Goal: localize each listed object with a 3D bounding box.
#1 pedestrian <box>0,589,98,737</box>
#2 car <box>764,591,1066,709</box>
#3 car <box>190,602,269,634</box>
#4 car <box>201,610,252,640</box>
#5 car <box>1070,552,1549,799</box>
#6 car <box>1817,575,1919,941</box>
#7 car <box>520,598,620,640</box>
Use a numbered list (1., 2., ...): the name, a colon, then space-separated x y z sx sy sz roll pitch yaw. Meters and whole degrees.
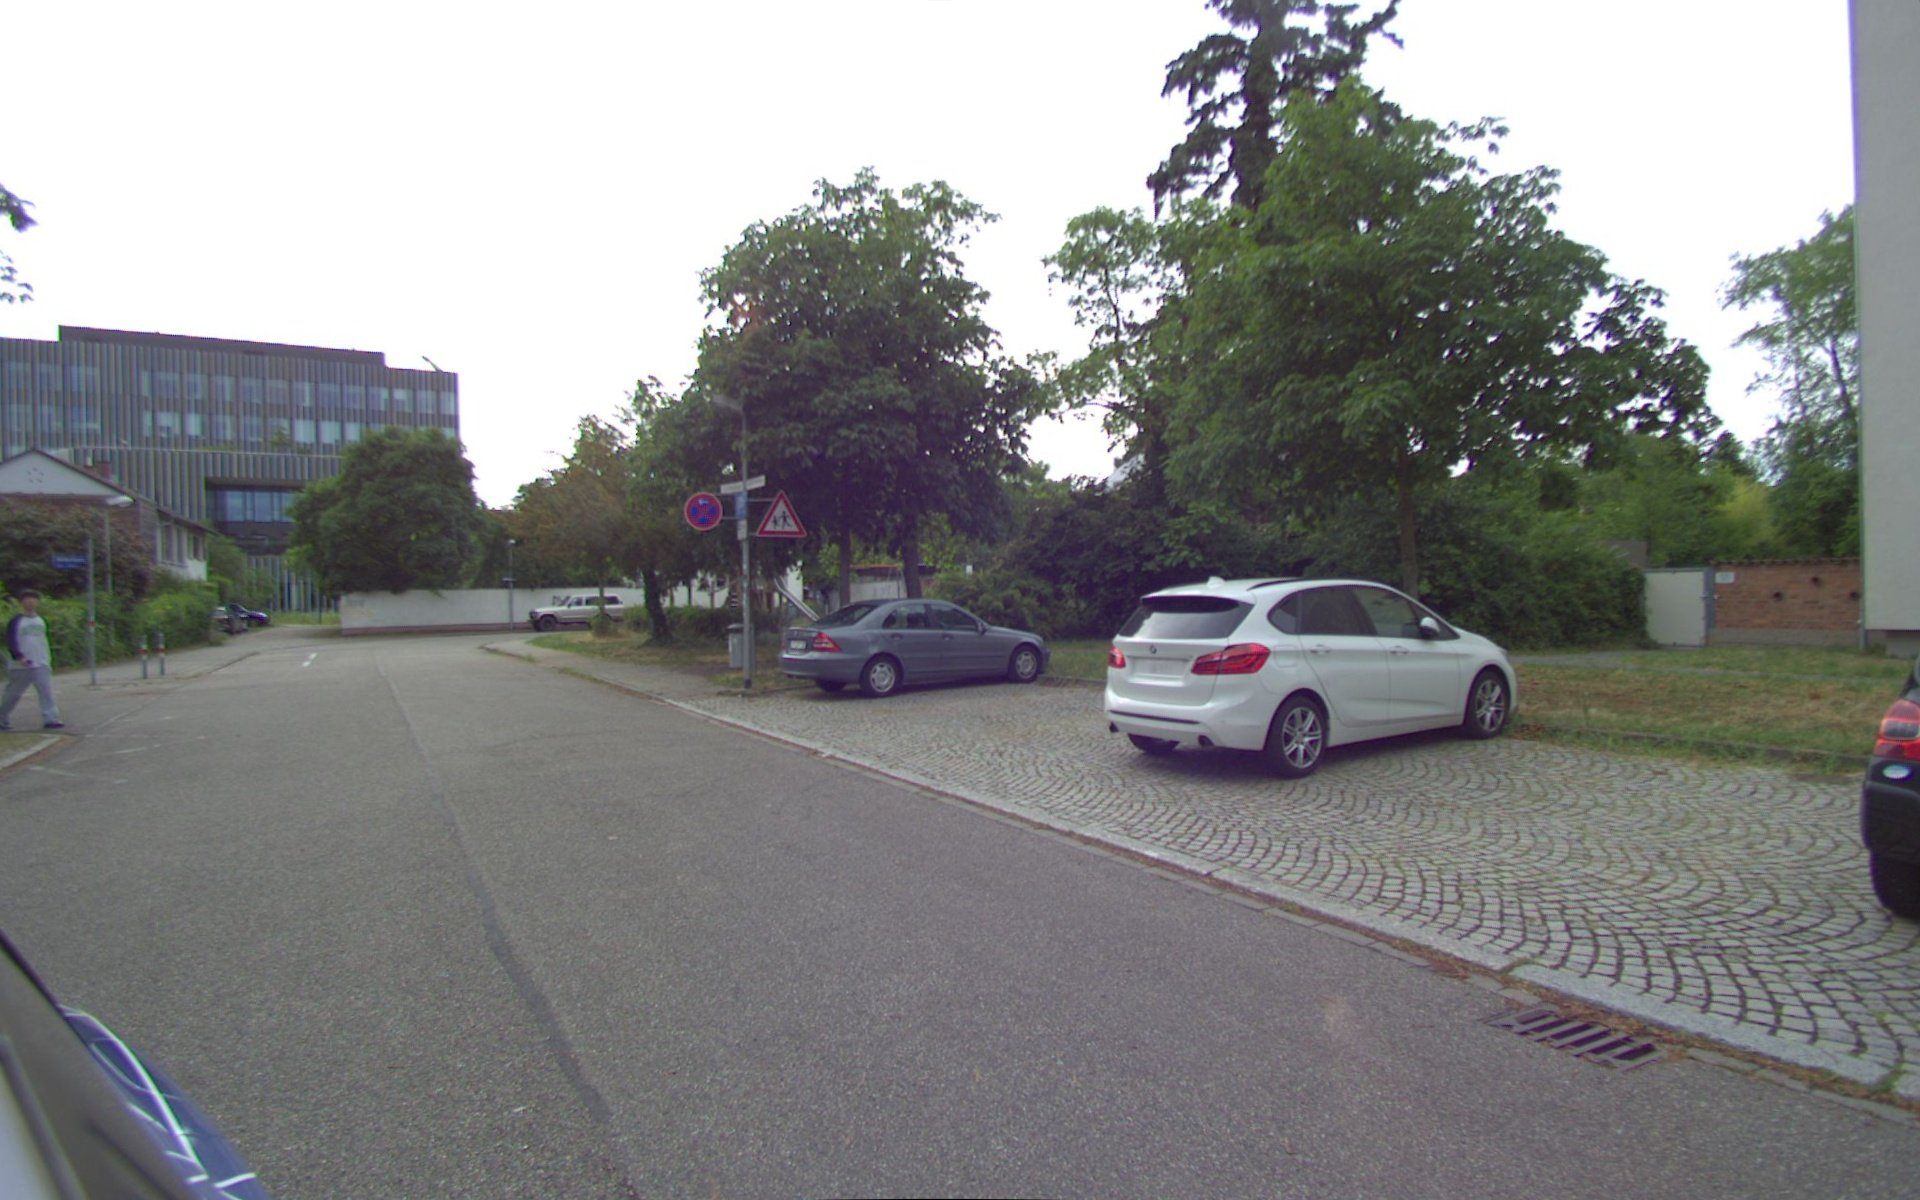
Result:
1. pedestrian: -12.218 0.802 13.236 1.206 1.850 0.876 -1 0 12
2. car: -0.608 0.677 15.772 4.485 1.465 1.684 -3 1 -36
3. car: -47.414 1.153 65.805 3.932 1.851 2.006 -1 3 -30
4. car: -41.325 1.397 57.069 1.966 1.408 4.012 -1 3 -31
5. car: 3.229 0.484 9.157 4.079 1.572 1.890 -5 3 -31
6. car: 6.157 0.568 4.623 4.482 1.474 1.847 -2 1 -28
7. car: -20.072 0.935 52.161 4.420 1.873 2.005 -2 3 -35
